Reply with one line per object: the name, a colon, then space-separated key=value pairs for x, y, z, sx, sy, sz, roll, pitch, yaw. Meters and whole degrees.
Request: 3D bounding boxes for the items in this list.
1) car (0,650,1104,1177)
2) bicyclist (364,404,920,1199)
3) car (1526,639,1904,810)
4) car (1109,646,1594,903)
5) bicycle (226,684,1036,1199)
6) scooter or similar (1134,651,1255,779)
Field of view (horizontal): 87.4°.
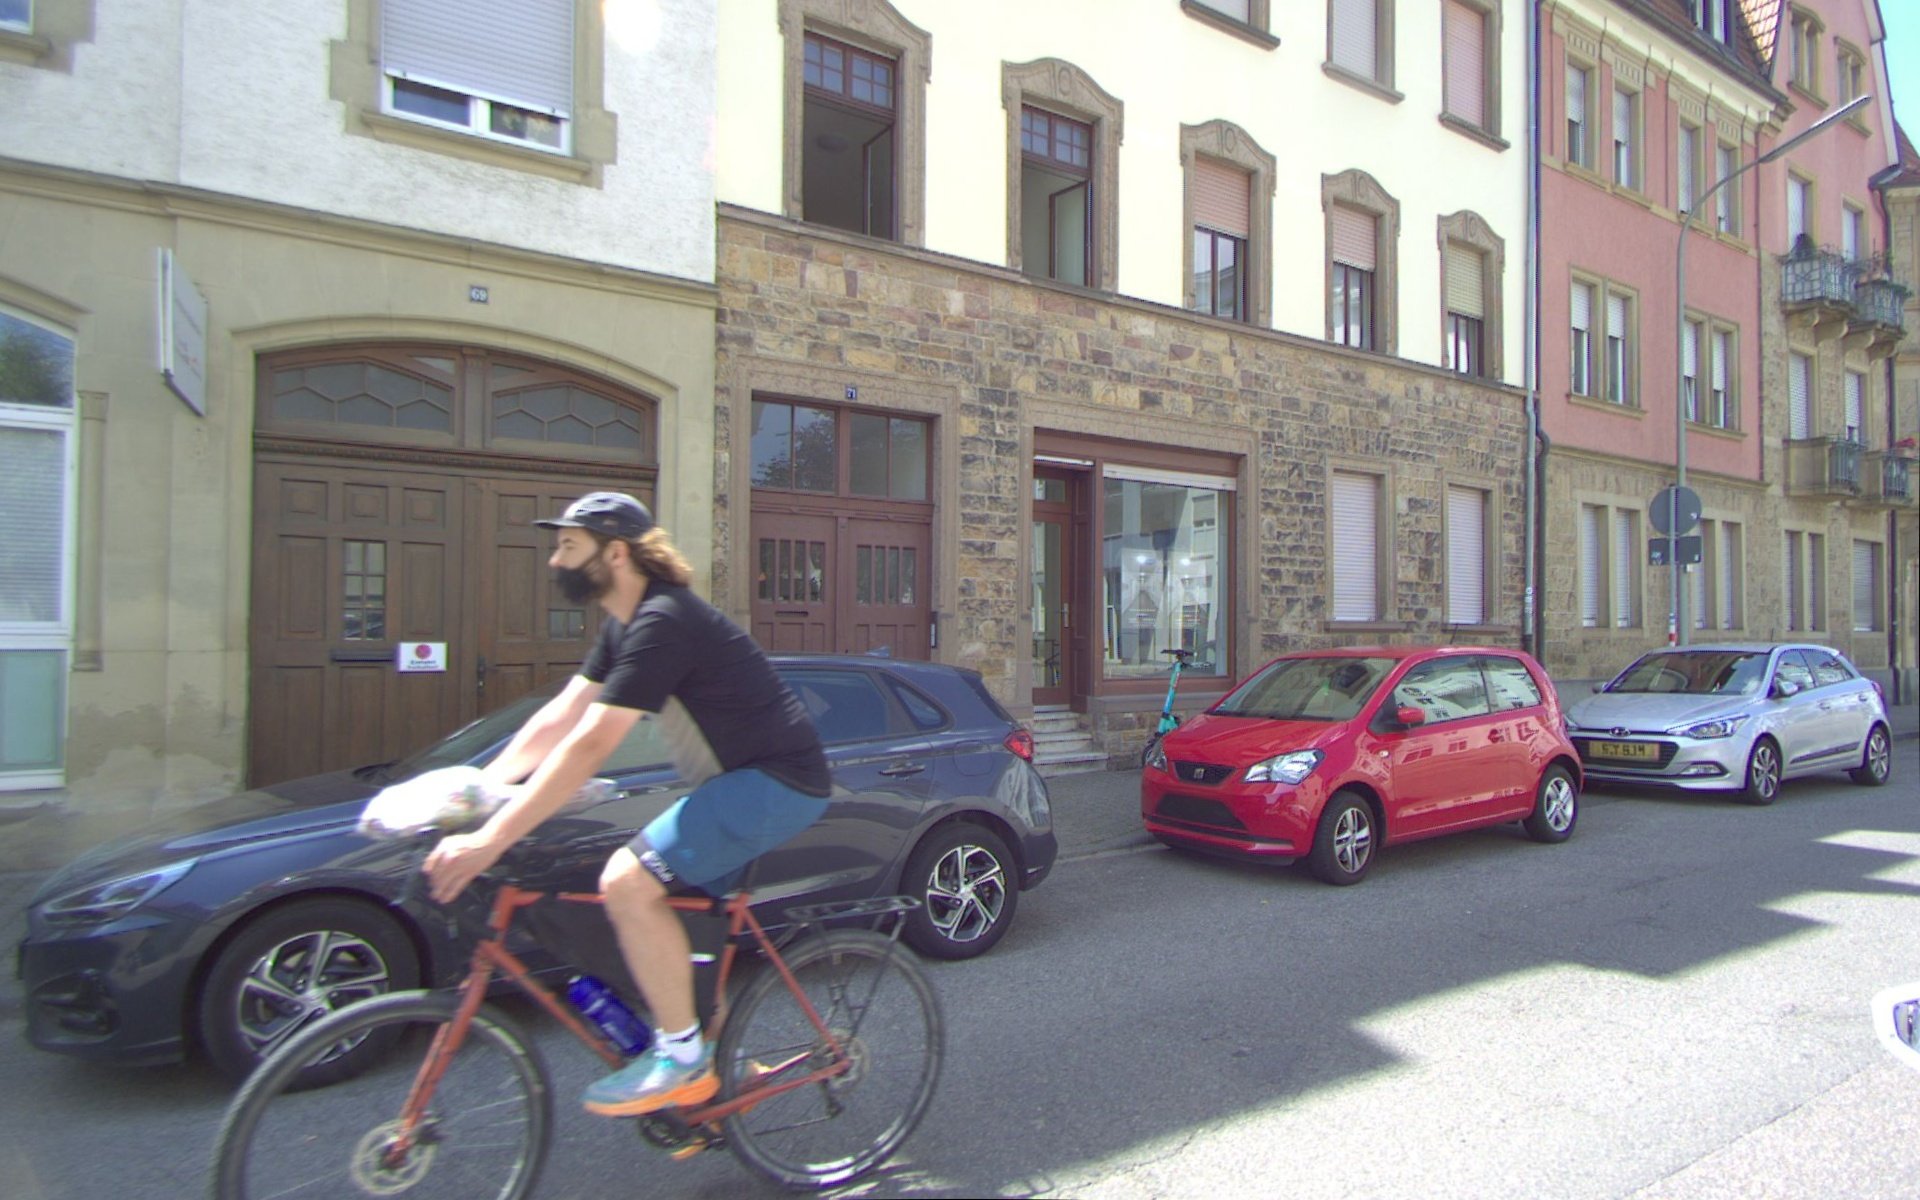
car: x=-1.520 y=0.997 z=4.800 sx=4.171 sy=1.457 sz=1.863 roll=1 pitch=-2 yaw=-32
bicyclist: x=-0.759 y=0.523 z=2.506 sx=1.151 sy=1.785 sz=0.640 roll=1 pitch=-4 yaw=-24
car: x=7.807 y=1.155 z=10.323 sx=3.970 sy=1.450 sz=1.628 roll=1 pitch=-4 yaw=-30
car: x=2.944 y=1.087 z=7.430 sx=3.456 sy=1.461 sz=1.590 roll=1 pitch=-3 yaw=-32
bicycle: x=-0.692 y=0.880 z=2.544 sx=1.857 sy=1.291 sz=0.227 roll=1 pitch=-4 yaw=-25
scooter or similar: x=2.410 y=1.146 z=10.294 sx=1.304 sy=1.236 sz=0.373 roll=1 pitch=-3 yaw=-31
